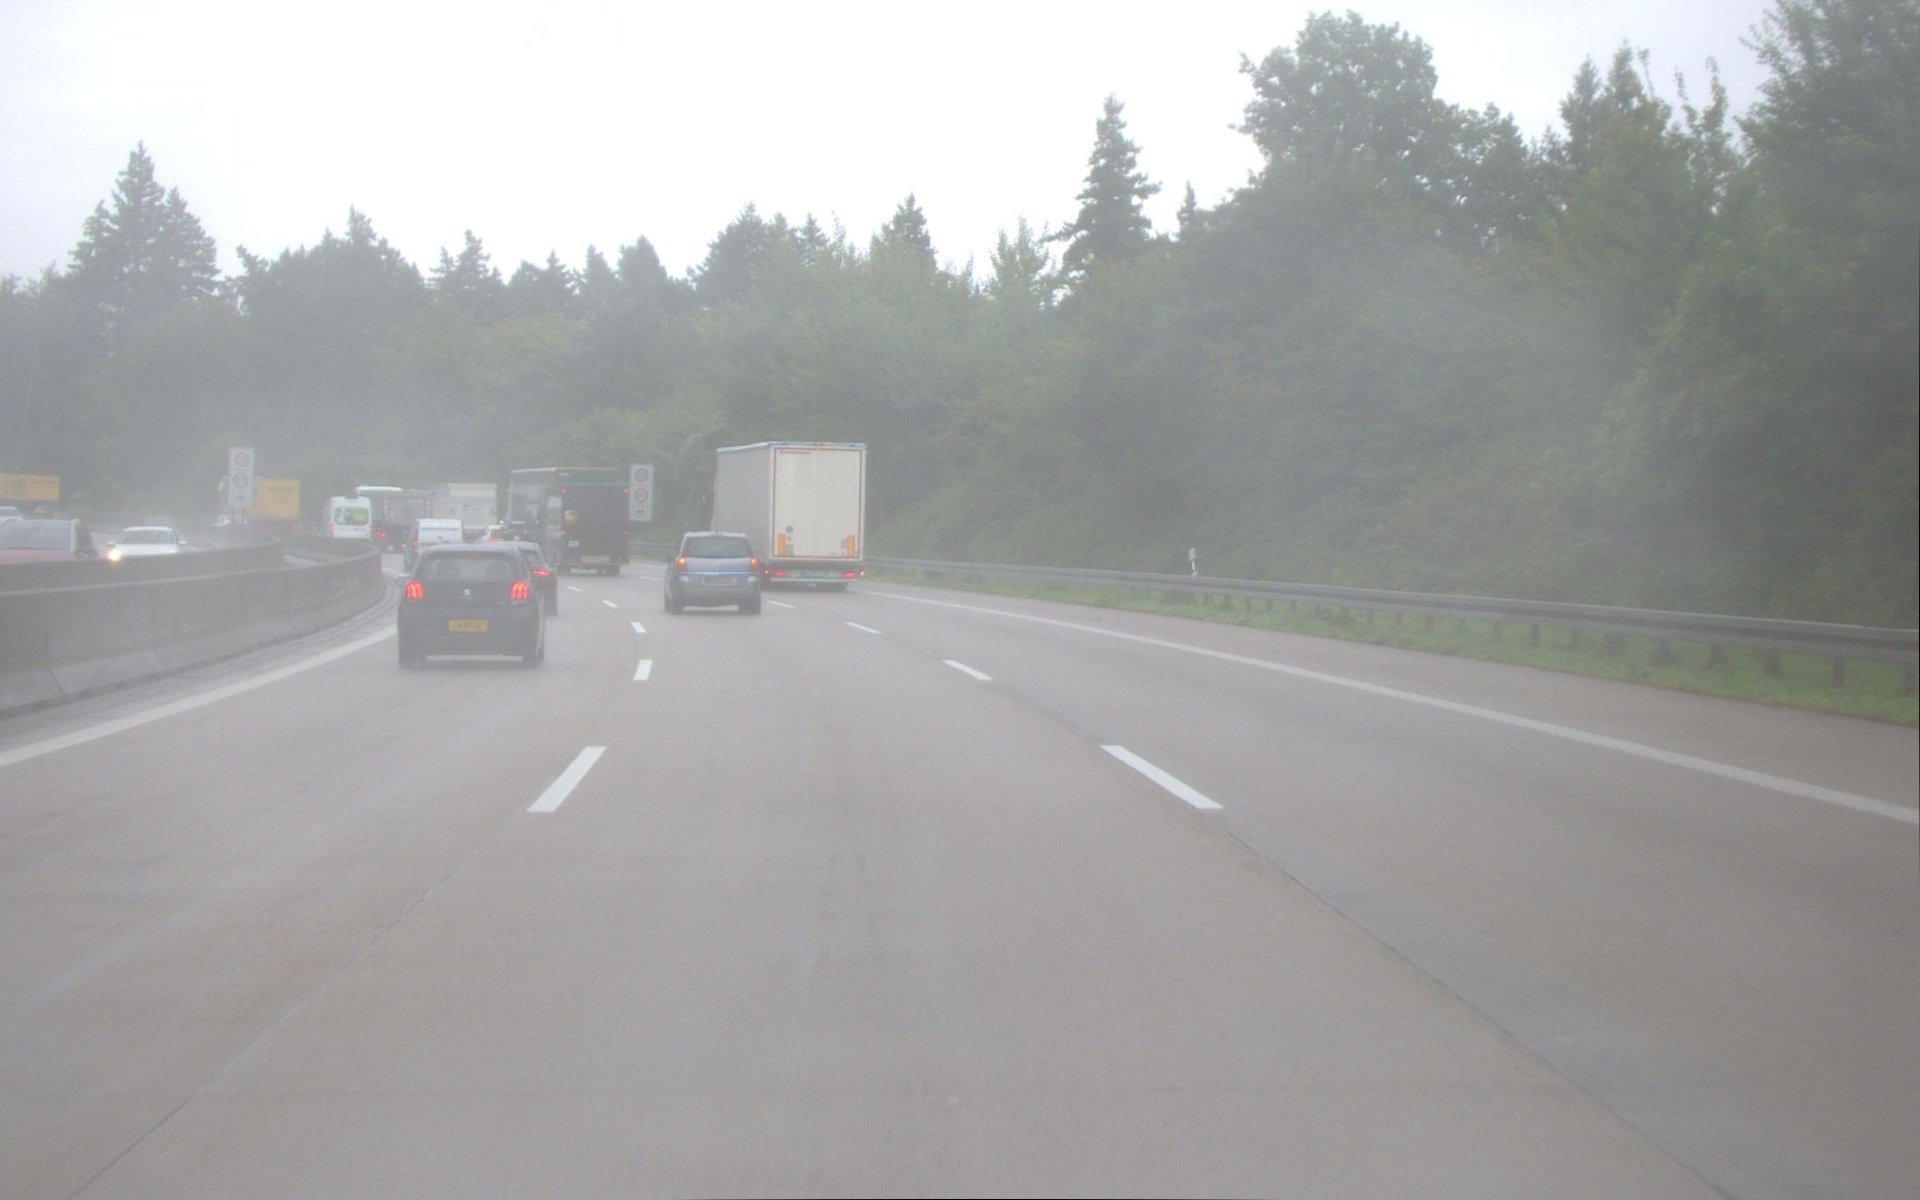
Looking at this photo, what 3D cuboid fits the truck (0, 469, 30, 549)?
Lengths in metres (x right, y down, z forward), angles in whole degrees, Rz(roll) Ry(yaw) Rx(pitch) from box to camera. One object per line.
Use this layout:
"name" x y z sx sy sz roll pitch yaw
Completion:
"truck" -48.447 -4.567 172.336 2.906 3.875 7.367 0 1 -11

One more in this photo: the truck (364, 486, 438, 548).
"truck" -28.285 -4.242 173.626 3.081 2.895 7.906 1 2 -13

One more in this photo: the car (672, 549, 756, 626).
"car" -4.813 -0.266 67.399 1.553 1.347 3.684 3 1 -4

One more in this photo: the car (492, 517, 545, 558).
"car" -17.095 -2.429 133.255 1.881 1.468 4.001 3 1 -6

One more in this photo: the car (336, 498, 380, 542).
"car" -28.489 -3.786 162.628 1.993 2.052 4.001 0 1 -10

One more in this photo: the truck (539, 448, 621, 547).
"truck" -16.694 -4.502 150.454 3.368 4.117 10.440 1 2 -7

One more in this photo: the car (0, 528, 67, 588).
"car" -25.490 -1.153 92.513 1.993 1.579 4.773 0 1 -4

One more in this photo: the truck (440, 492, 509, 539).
"truck" -25.733 -4.507 182.032 2.973 2.301 6.669 3 1 -12

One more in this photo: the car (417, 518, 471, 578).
"car" -17.686 -1.796 117.961 1.725 2.007 3.658 0 1 -7

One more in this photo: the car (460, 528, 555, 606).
"car" -8.531 -0.649 65.009 1.553 1.347 3.684 3 1 -5

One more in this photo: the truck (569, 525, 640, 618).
"truck" -12.198 -1.038 117.794 2.269 2.877 7.905 1 2 -6

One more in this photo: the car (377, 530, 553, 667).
"car" -5.824 -0.054 40.785 1.683 1.457 3.684 3 1 -3

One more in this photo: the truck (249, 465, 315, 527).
"truck" -46.593 -7.111 236.041 3.739 4.195 6.820 0 1 -17

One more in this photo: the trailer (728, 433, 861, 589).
"trailer" -4.750 -2.521 96.367 2.419 4.054 12.058 1 2 -9
